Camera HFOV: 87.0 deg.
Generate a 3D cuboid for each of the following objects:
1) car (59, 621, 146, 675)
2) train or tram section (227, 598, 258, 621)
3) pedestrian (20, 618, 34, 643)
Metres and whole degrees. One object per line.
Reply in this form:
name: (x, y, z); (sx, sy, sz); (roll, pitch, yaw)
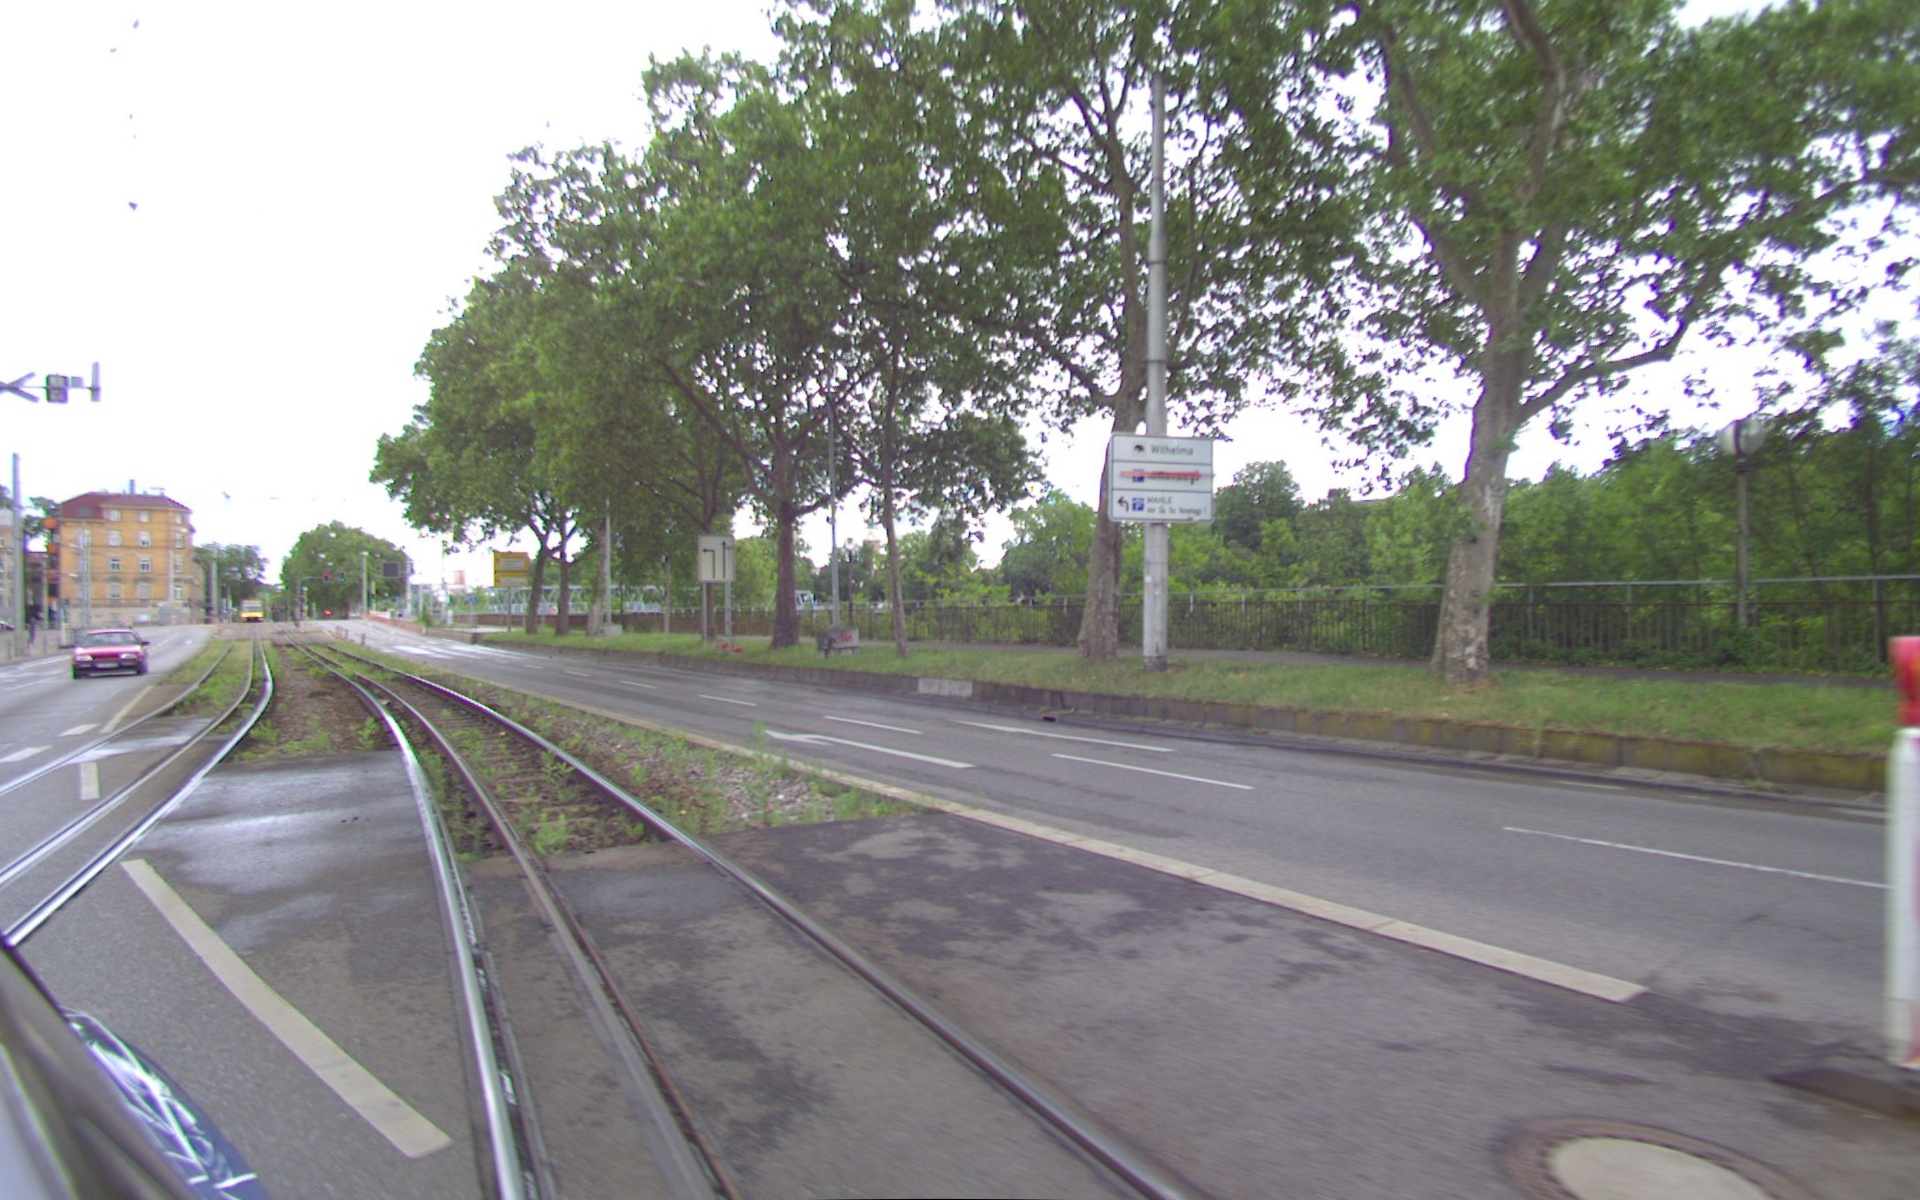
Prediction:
car: (-26.153, 1.426, 30.969); (1.655, 1.453, 4.129); (-3, 0, -36)
train or tram section: (-112.345, 1.507, 158.318); (3.680, 3.391, 17.597); (1, -1, -36)
pedestrian: (-68.049, 2.225, 73.823); (0.662, 1.781, 0.939); (0, -1, -36)
